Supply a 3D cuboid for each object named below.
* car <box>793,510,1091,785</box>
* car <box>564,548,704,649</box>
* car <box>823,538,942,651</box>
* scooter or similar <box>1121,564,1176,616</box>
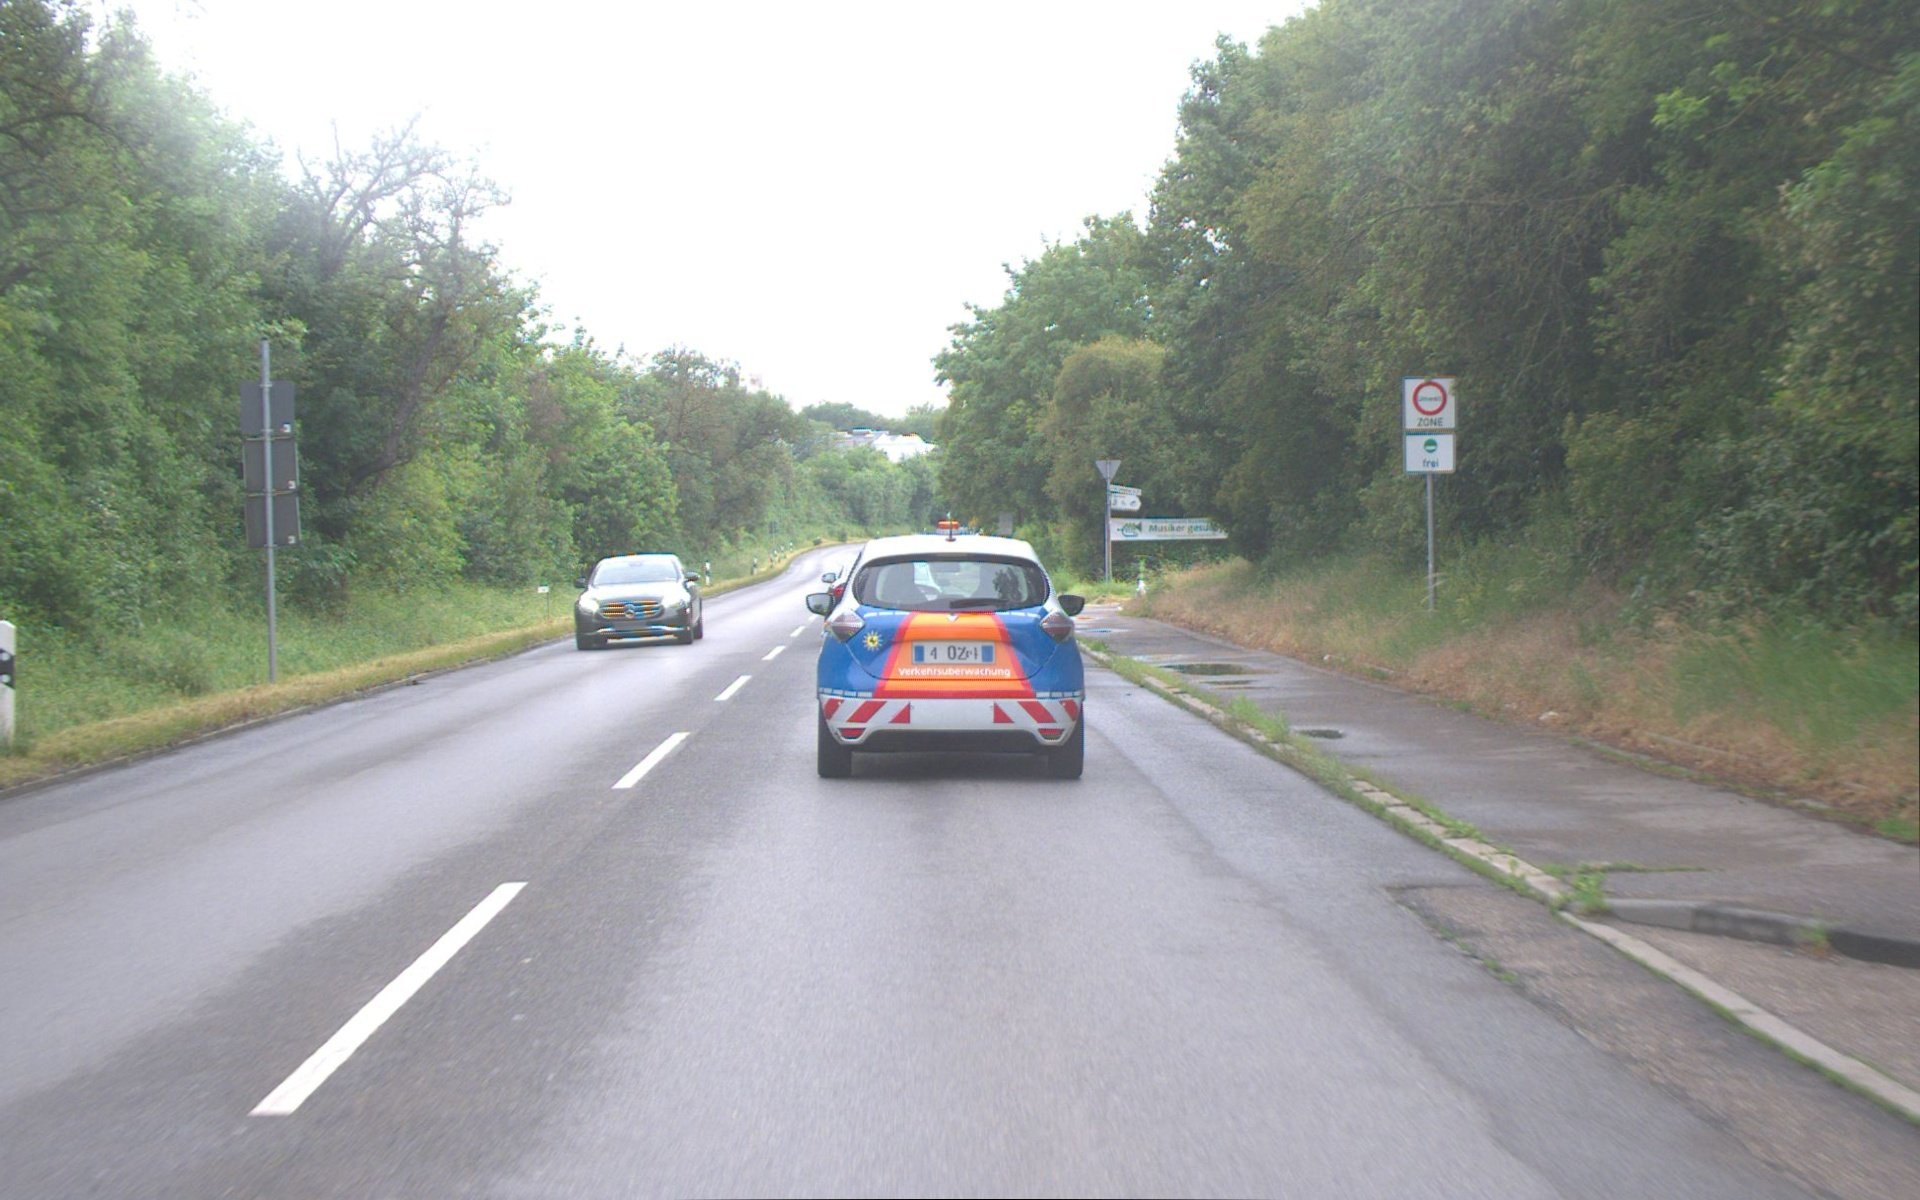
[{"bbox_3d":[-0.158,0.276,23.189,1.806,1.662,3.856,1,1,-1],"label":"car"},{"bbox_3d":[-5.285,-0.046,56.276,1.871,1.484,4.574,-3,1,-1],"label":"car"},{"bbox_3d":[-1.191,-0.100,51.857,1.694,1.590,3.856,1,1,-2],"label":"car"},{"bbox_3d":[4.455,-0.232,81.175,1.326,1.202,0.373,-1,1,40],"label":"scooter or similar"}]
